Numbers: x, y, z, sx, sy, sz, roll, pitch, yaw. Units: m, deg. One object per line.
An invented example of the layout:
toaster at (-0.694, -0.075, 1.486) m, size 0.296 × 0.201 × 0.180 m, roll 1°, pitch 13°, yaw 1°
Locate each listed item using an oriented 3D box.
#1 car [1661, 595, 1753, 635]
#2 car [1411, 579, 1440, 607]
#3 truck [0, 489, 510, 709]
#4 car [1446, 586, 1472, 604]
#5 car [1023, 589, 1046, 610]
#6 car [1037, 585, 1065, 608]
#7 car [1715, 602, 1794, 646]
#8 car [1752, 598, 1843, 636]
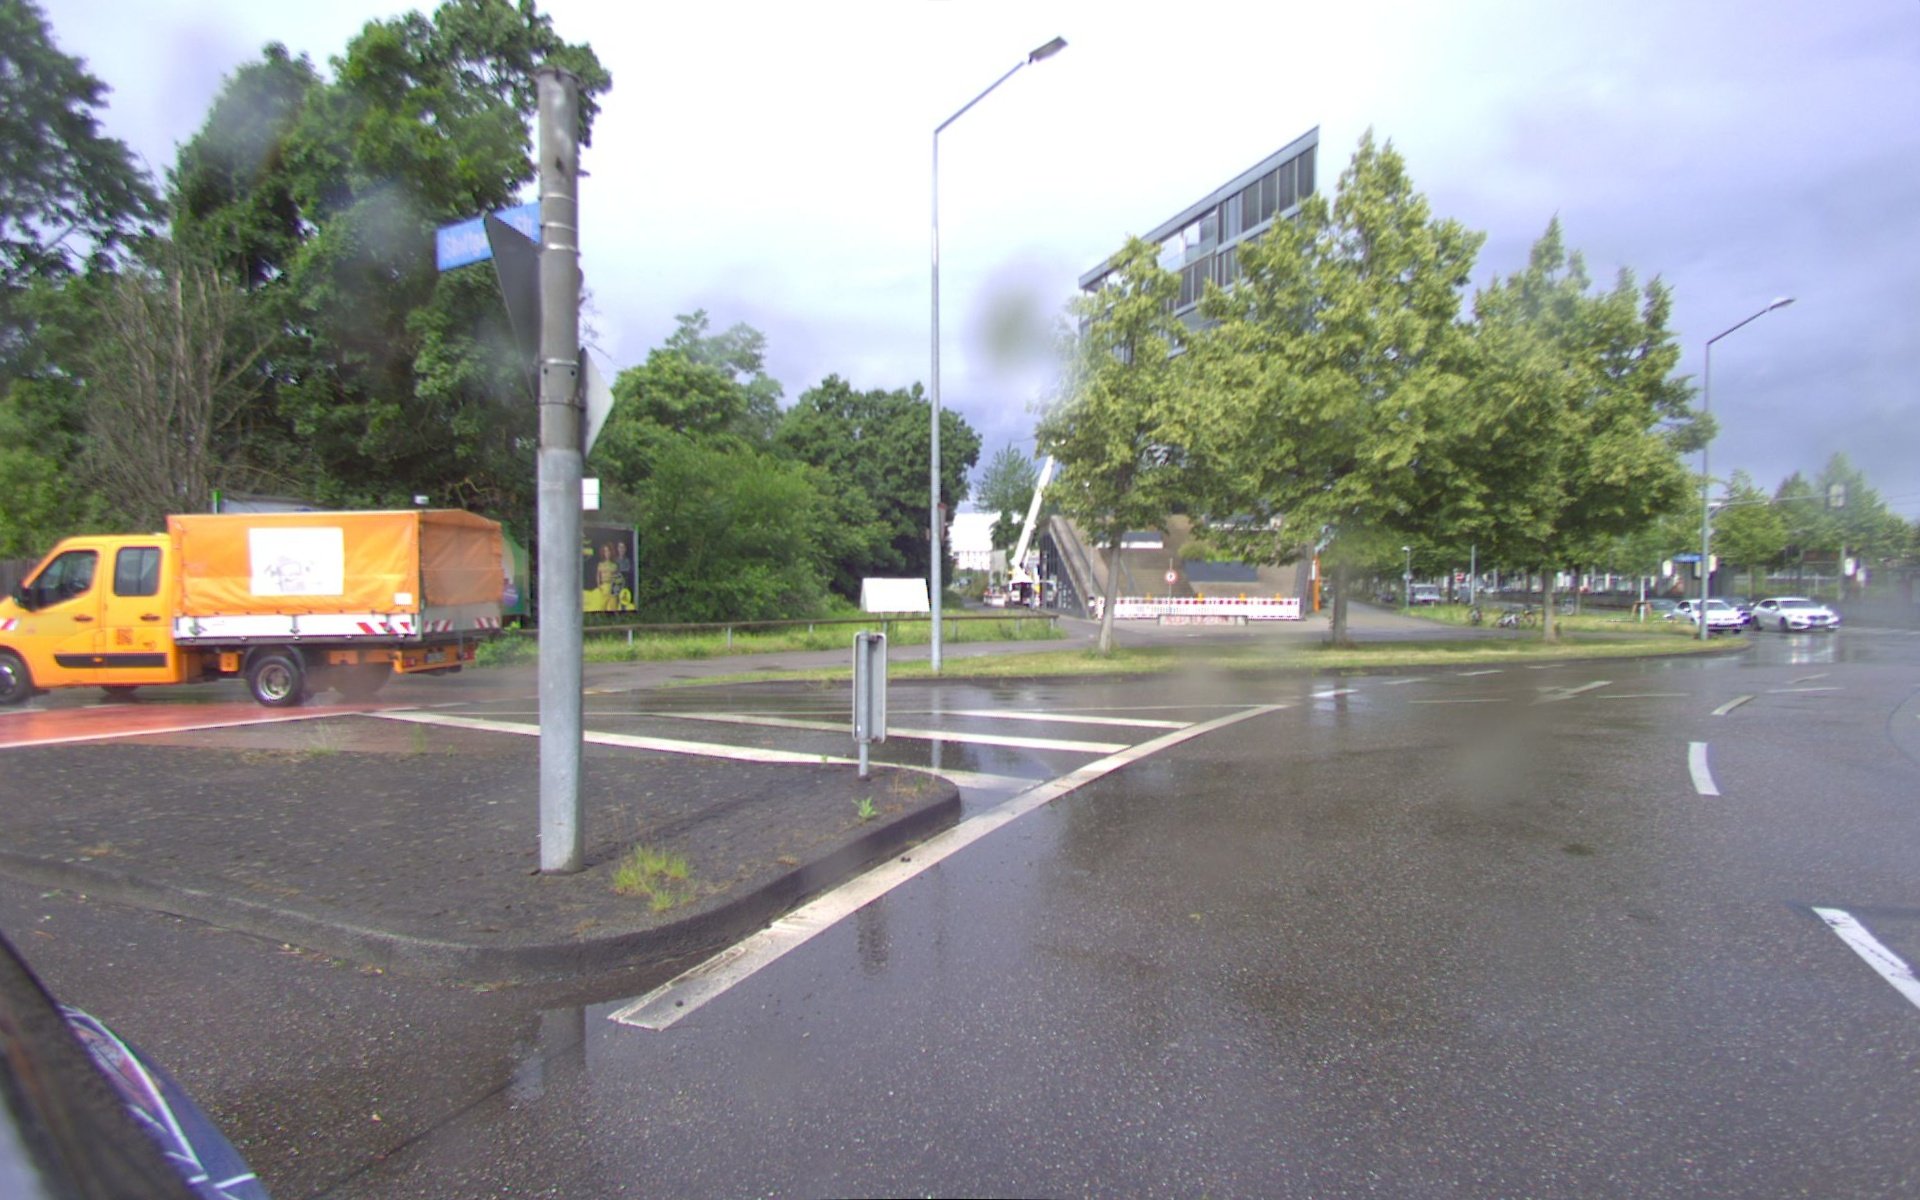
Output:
car at (32.862, 0.647, 44.665) m, size 1.851 × 1.685 × 4.445 m, roll 0°, pitch -1°, yaw 17°
car at (41.066, -0.580, 89.259) m, size 1.852 × 2.377 × 4.442 m, roll 0°, pitch -1°, yaw 19°
truck at (-10.170, -0.013, 13.963) m, size 6.850 × 2.747 × 2.461 m, roll 0°, pitch 0°, yaw 1°
car at (52.028, -0.490, 105.595) m, size 1.852 × 1.757 × 4.060 m, roll 0°, pitch -1°, yaw 19°
car at (6.364, -0.016, 86.257) m, size 1.844 × 1.685 × 4.462 m, roll 0°, pitch -1°, yaw 6°
car at (7.268, -0.255, 80.624) m, size 1.846 × 1.685 × 4.456 m, roll 0°, pitch -1°, yaw 10°
car at (39.117, 1.128, 49.926) m, size 1.986 × 2.029 × 3.971 m, roll 0°, pitch 1°, yaw 21°
car at (35.740, 0.681, 43.304) m, size 1.713 × 1.519 × 3.880 m, roll 0°, pitch 0°, yaw 19°
